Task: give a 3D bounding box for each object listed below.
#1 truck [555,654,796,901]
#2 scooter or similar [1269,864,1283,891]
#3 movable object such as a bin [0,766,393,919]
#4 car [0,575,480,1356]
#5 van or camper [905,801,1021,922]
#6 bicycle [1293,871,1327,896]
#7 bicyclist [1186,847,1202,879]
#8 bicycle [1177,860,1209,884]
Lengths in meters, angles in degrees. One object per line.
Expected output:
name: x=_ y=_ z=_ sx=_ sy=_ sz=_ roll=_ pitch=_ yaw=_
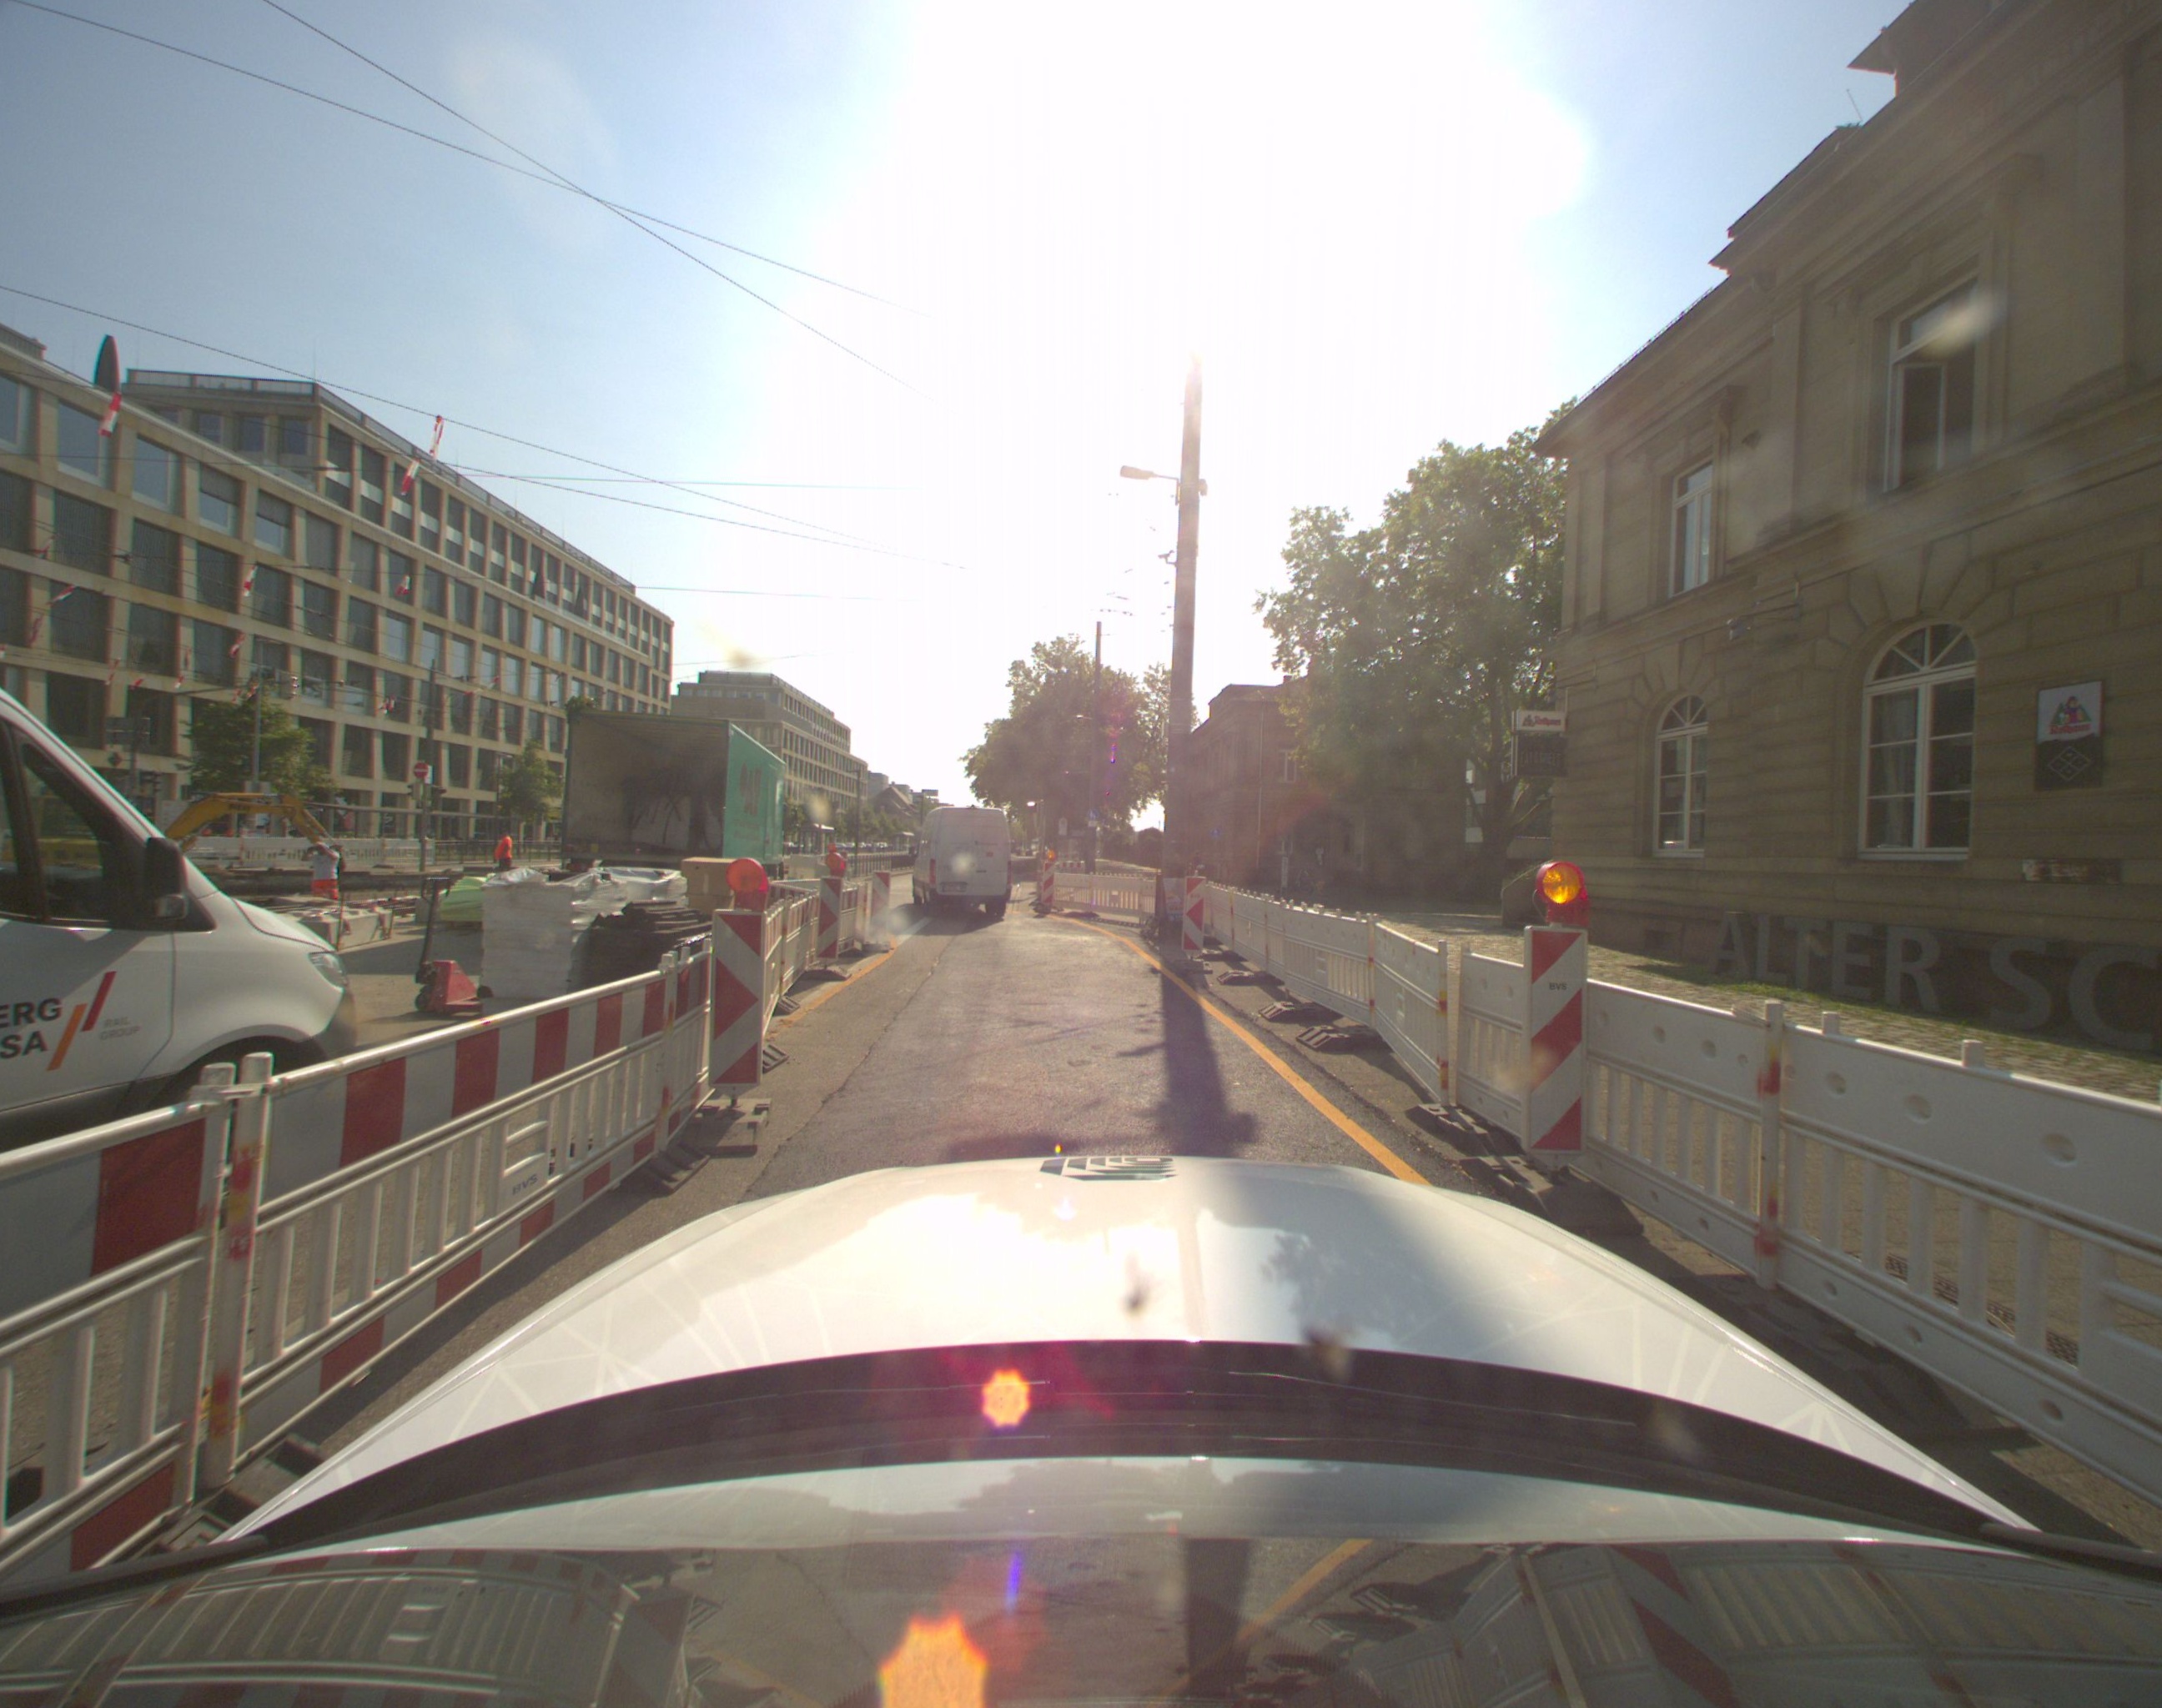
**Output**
truck: x=-8.184 y=-1.341 z=17.756 sx=2.797 sy=3.912 sz=8.378 roll=4 pitch=1 yaw=-15
scooter or similar: x=9.170 y=1.097 z=38.323 sx=0.423 sy=1.228 sz=1.175 roll=2 pitch=0 yaw=4
movable object such as a bin: x=-22.449 y=-0.271 z=20.187 sx=3.605 sy=2.958 sz=8.468 roll=4 pitch=-1 yaw=-2
car: x=-4.310 y=0.326 z=1.031 sx=2.204 sy=2.424 sz=7.186 roll=2 pitch=0 yaw=-5
van or camper: x=-3.235 y=0.151 z=21.314 sx=2.120 sy=2.682 sz=5.221 roll=4 pitch=0 yaw=-17
bicycle: x=10.545 y=1.337 z=37.560 sx=0.493 sy=0.999 sz=1.806 roll=2 pitch=3 yaw=-21
bicyclist: x=5.550 y=0.453 z=40.135 sx=0.472 sy=1.539 sz=0.590 roll=2 pitch=0 yaw=-30
bicycle: x=5.515 y=0.870 z=40.184 sx=0.494 sy=1.089 sz=1.839 roll=2 pitch=0 yaw=-30
